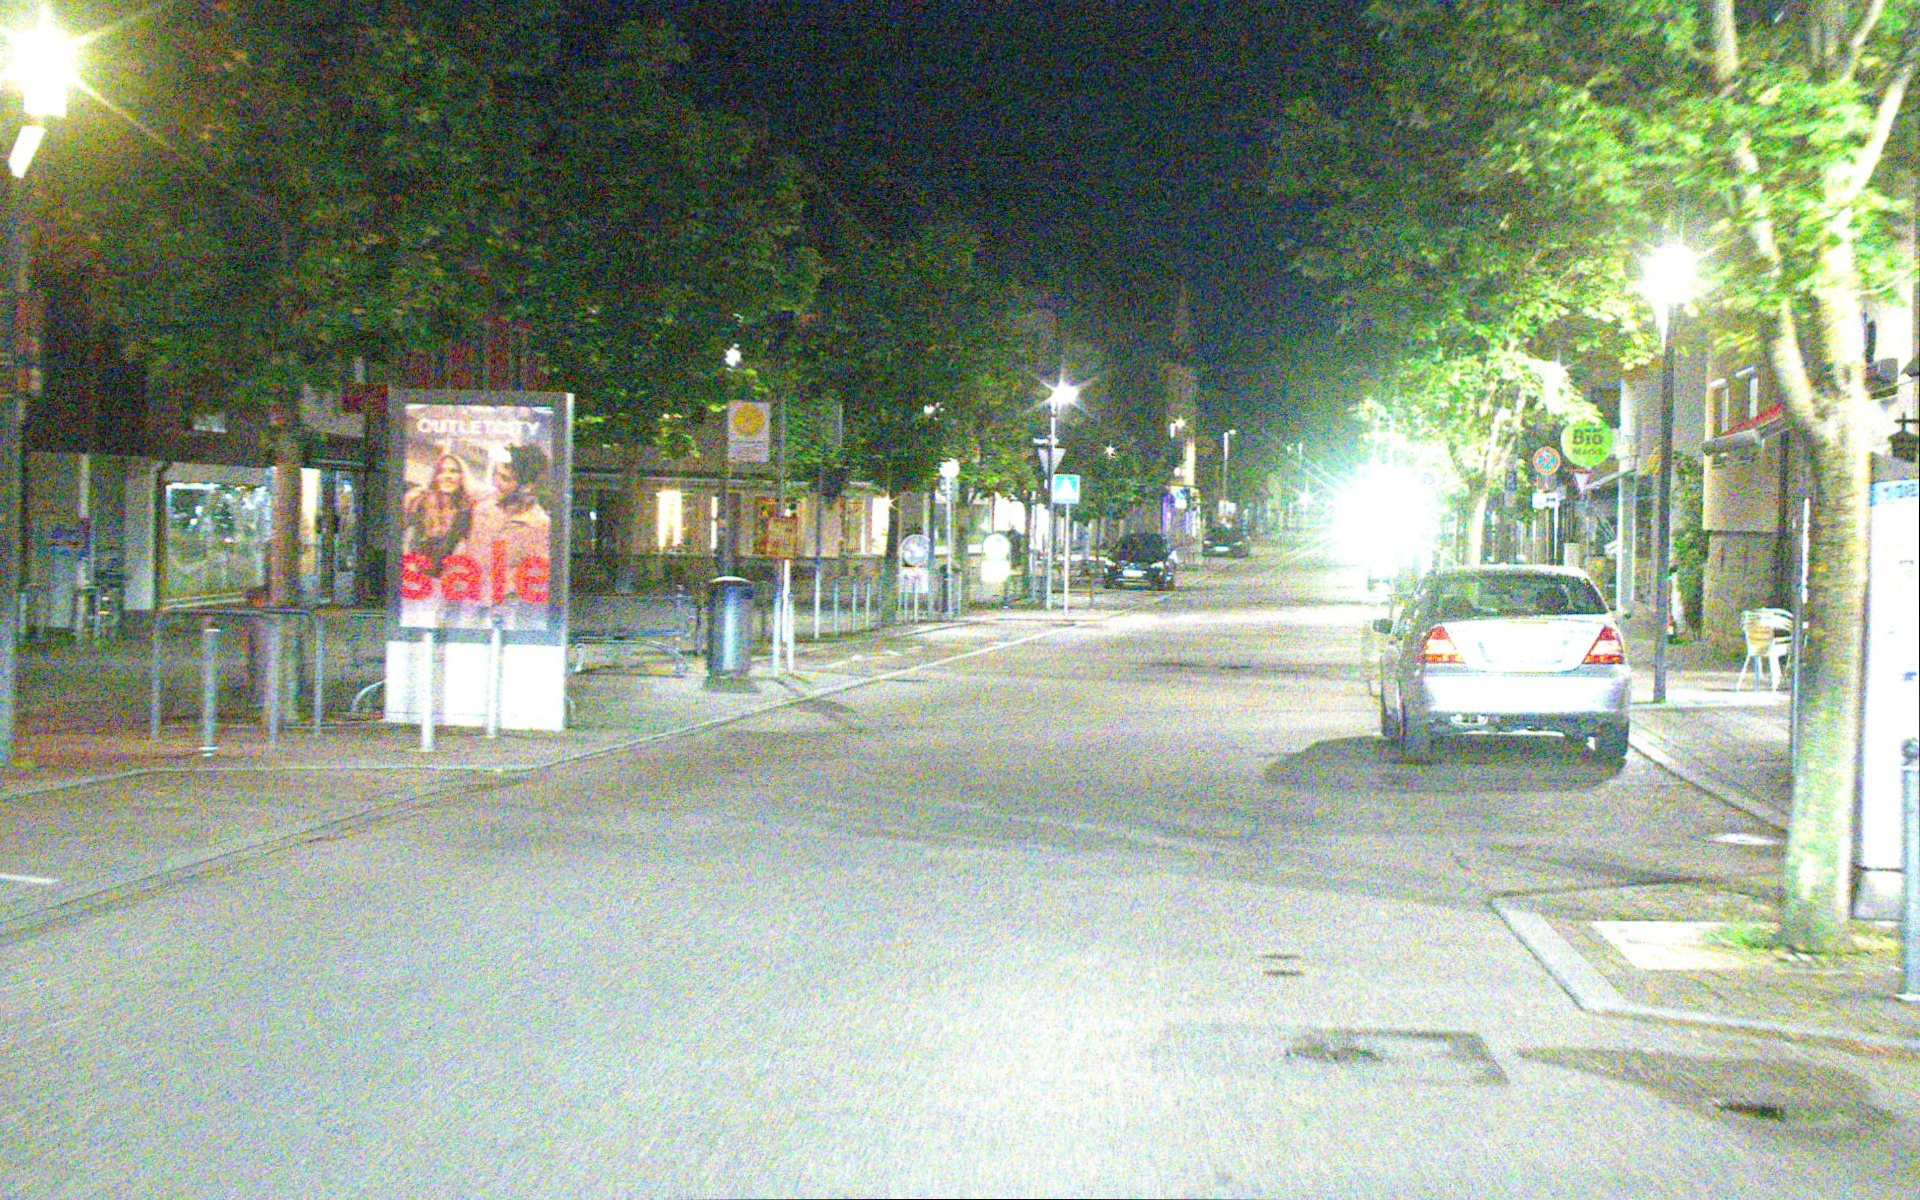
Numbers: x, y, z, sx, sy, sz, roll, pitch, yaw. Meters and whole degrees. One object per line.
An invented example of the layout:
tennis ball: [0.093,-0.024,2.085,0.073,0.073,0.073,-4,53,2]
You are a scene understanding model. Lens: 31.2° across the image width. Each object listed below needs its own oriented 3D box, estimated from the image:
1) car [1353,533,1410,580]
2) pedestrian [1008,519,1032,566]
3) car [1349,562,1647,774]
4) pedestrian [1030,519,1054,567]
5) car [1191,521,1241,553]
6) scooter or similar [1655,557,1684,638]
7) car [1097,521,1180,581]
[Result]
car: [13.372,-1.389,109.172,1.675,1.454,3.675,0,1,5]
pedestrian: [2.143,-2.041,122.437,0.769,1.650,0.817,1,3,9]
car: [4.078,0.460,26.700,1.734,1.436,4.496,0,1,2]
pedestrian: [2.918,-2.027,122.331,0.769,1.650,0.781,1,3,9]
car: [11.801,-2.900,158.242,1.915,1.366,4.456,0,2,9]
scooter or similar: [11.400,-0.039,55.245,0.373,1.272,1.305,0,0,8]
car: [5.456,-1.509,104.499,2.018,1.685,5.001,2,2,8]
